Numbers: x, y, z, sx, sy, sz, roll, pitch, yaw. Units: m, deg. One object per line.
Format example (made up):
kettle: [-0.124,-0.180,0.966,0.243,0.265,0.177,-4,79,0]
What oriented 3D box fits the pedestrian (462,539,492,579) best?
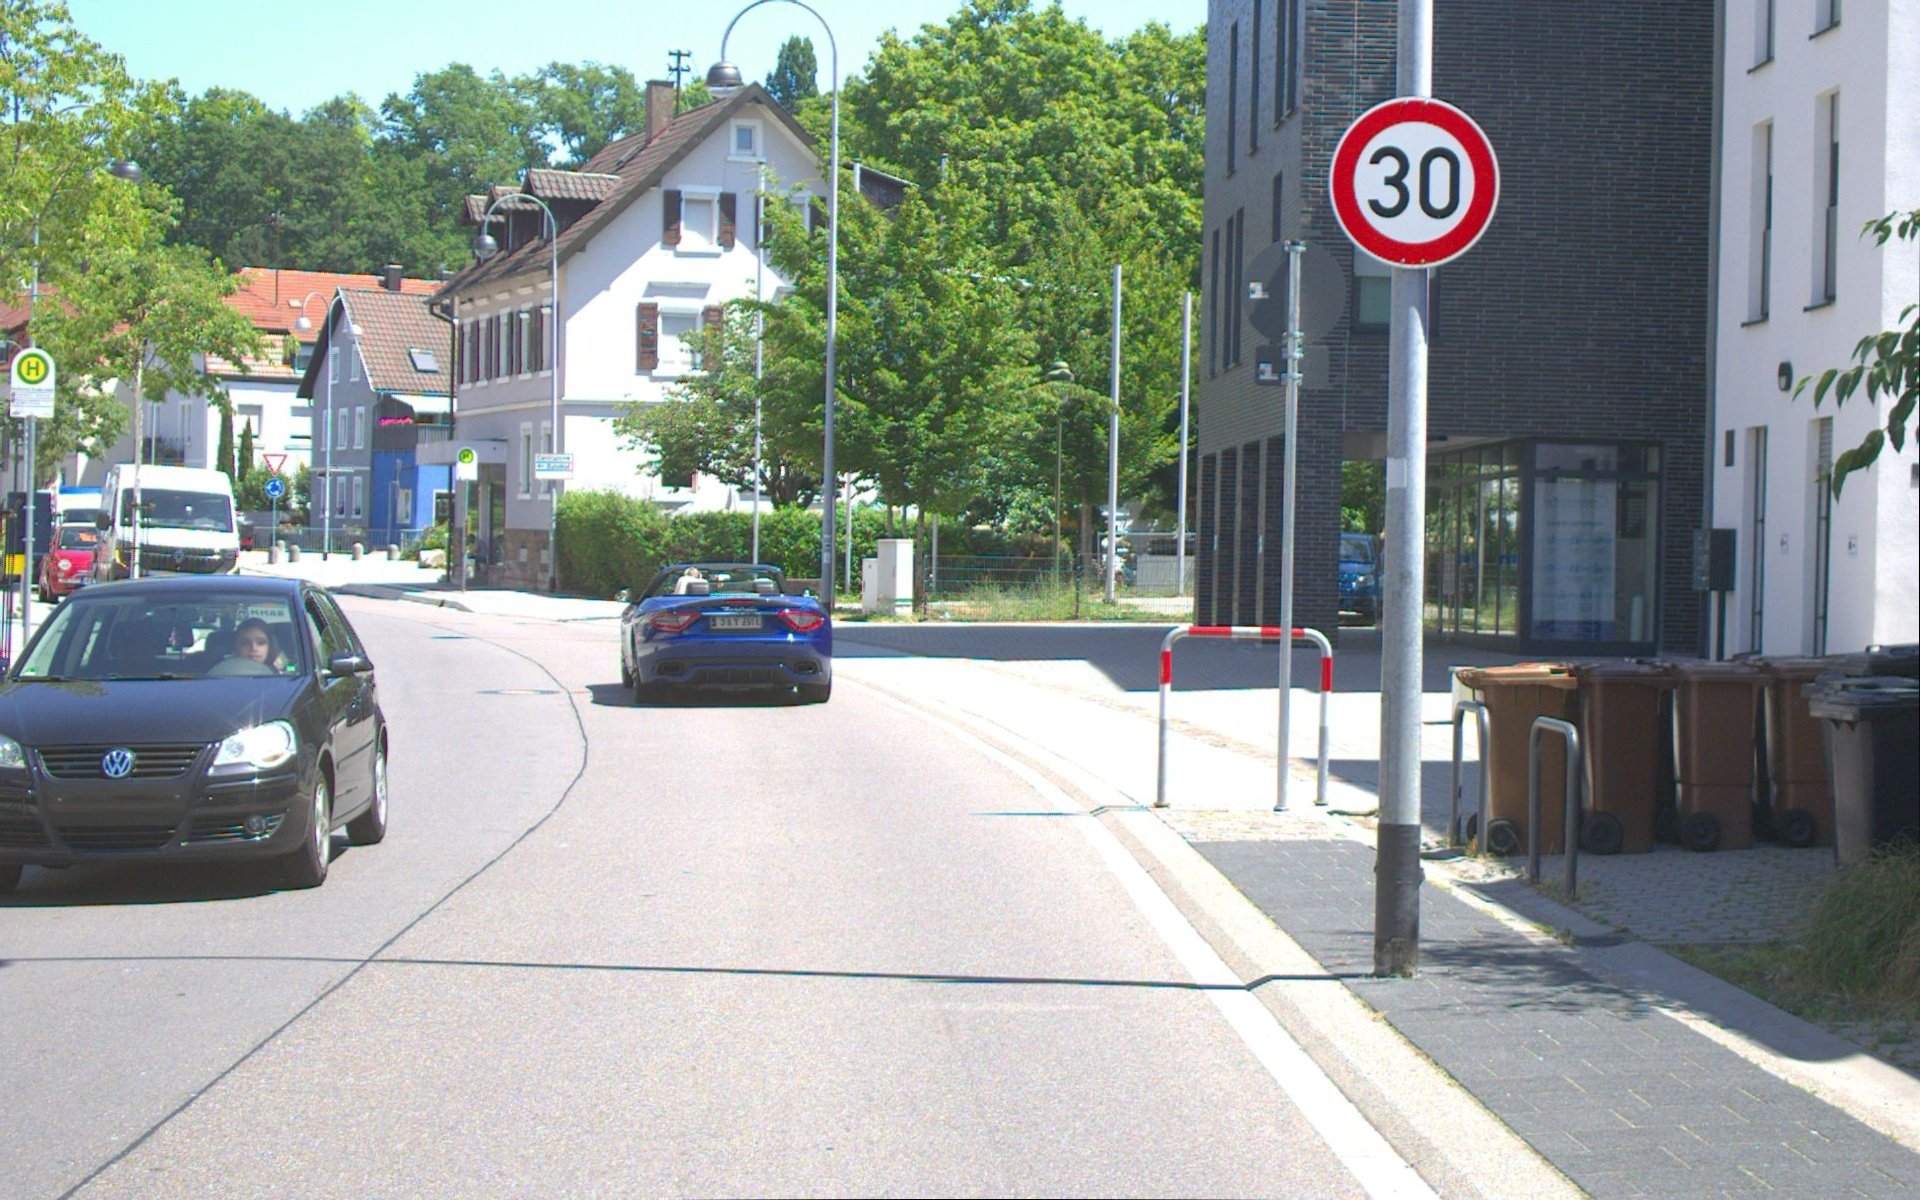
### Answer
pedestrian: [-12.123,-1.022,86.326,0.590,0.996,0.724,0,1,-20]

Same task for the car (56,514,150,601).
car: [-15.828,-0.794,63.415,1.559,1.515,3.517,1,1,-16]

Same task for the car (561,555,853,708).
car: [-2.578,0.267,34.021,1.910,1.356,4.287,0,1,-18]

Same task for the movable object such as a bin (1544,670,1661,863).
movable object such as a bin: [3.192,0.820,17.101,0.467,0.927,0.528,0,1,-2]

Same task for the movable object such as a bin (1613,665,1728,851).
movable object such as a bin: [3.649,0.804,17.678,0.473,0.927,0.528,0,1,-2]

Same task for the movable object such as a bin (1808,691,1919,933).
movable object such as a bin: [3.763,0.841,13.796,0.561,0.928,0.466,0,1,-7]

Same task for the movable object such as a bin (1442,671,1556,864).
movable object such as a bin: [2.673,0.823,17.081,0.473,0.927,0.528,0,1,-2]

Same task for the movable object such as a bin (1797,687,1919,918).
movable object such as a bin: [3.845,0.839,14.414,0.512,0.928,0.466,0,1,-7]

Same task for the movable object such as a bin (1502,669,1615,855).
movable object such as a bin: [3.069,0.825,17.660,0.473,0.927,0.528,0,1,-2]

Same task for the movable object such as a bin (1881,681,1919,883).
movable object such as a bin: [4.617,0.841,15.962,0.481,0.920,0.437,-1,1,-24]

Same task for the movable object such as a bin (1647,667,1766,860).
movable object such as a bin: [3.715,0.808,17.126,0.465,0.927,0.522,0,1,-2]

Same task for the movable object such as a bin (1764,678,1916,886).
movable object such as a bin: [4.062,0.833,15.880,0.515,0.920,0.437,-1,1,-24]

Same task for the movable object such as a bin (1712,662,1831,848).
movable object such as a bin: [4.174,0.790,17.696,0.473,0.927,0.528,0,1,-2]

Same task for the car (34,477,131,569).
car: [-23.320,-2.056,91.238,2.155,2.354,5.249,0,1,-18]

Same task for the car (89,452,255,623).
car: [-12.723,-1.016,55.273,2.091,2.489,5.505,3,0,-17]

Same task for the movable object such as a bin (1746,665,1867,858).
movable object such as a bin: [4.214,0.797,17.135,0.465,0.927,0.522,0,1,-2]

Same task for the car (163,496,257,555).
car: [-27.012,-2.694,123.698,1.993,2.007,4.000,2,1,-32]

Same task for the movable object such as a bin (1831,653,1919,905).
movable object such as a bin: [4.133,0.766,14.902,0.569,1.057,0.560,0,1,0]

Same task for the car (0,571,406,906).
car: [-3.809,0.592,17.014,1.616,1.449,3.864,0,1,-2]
